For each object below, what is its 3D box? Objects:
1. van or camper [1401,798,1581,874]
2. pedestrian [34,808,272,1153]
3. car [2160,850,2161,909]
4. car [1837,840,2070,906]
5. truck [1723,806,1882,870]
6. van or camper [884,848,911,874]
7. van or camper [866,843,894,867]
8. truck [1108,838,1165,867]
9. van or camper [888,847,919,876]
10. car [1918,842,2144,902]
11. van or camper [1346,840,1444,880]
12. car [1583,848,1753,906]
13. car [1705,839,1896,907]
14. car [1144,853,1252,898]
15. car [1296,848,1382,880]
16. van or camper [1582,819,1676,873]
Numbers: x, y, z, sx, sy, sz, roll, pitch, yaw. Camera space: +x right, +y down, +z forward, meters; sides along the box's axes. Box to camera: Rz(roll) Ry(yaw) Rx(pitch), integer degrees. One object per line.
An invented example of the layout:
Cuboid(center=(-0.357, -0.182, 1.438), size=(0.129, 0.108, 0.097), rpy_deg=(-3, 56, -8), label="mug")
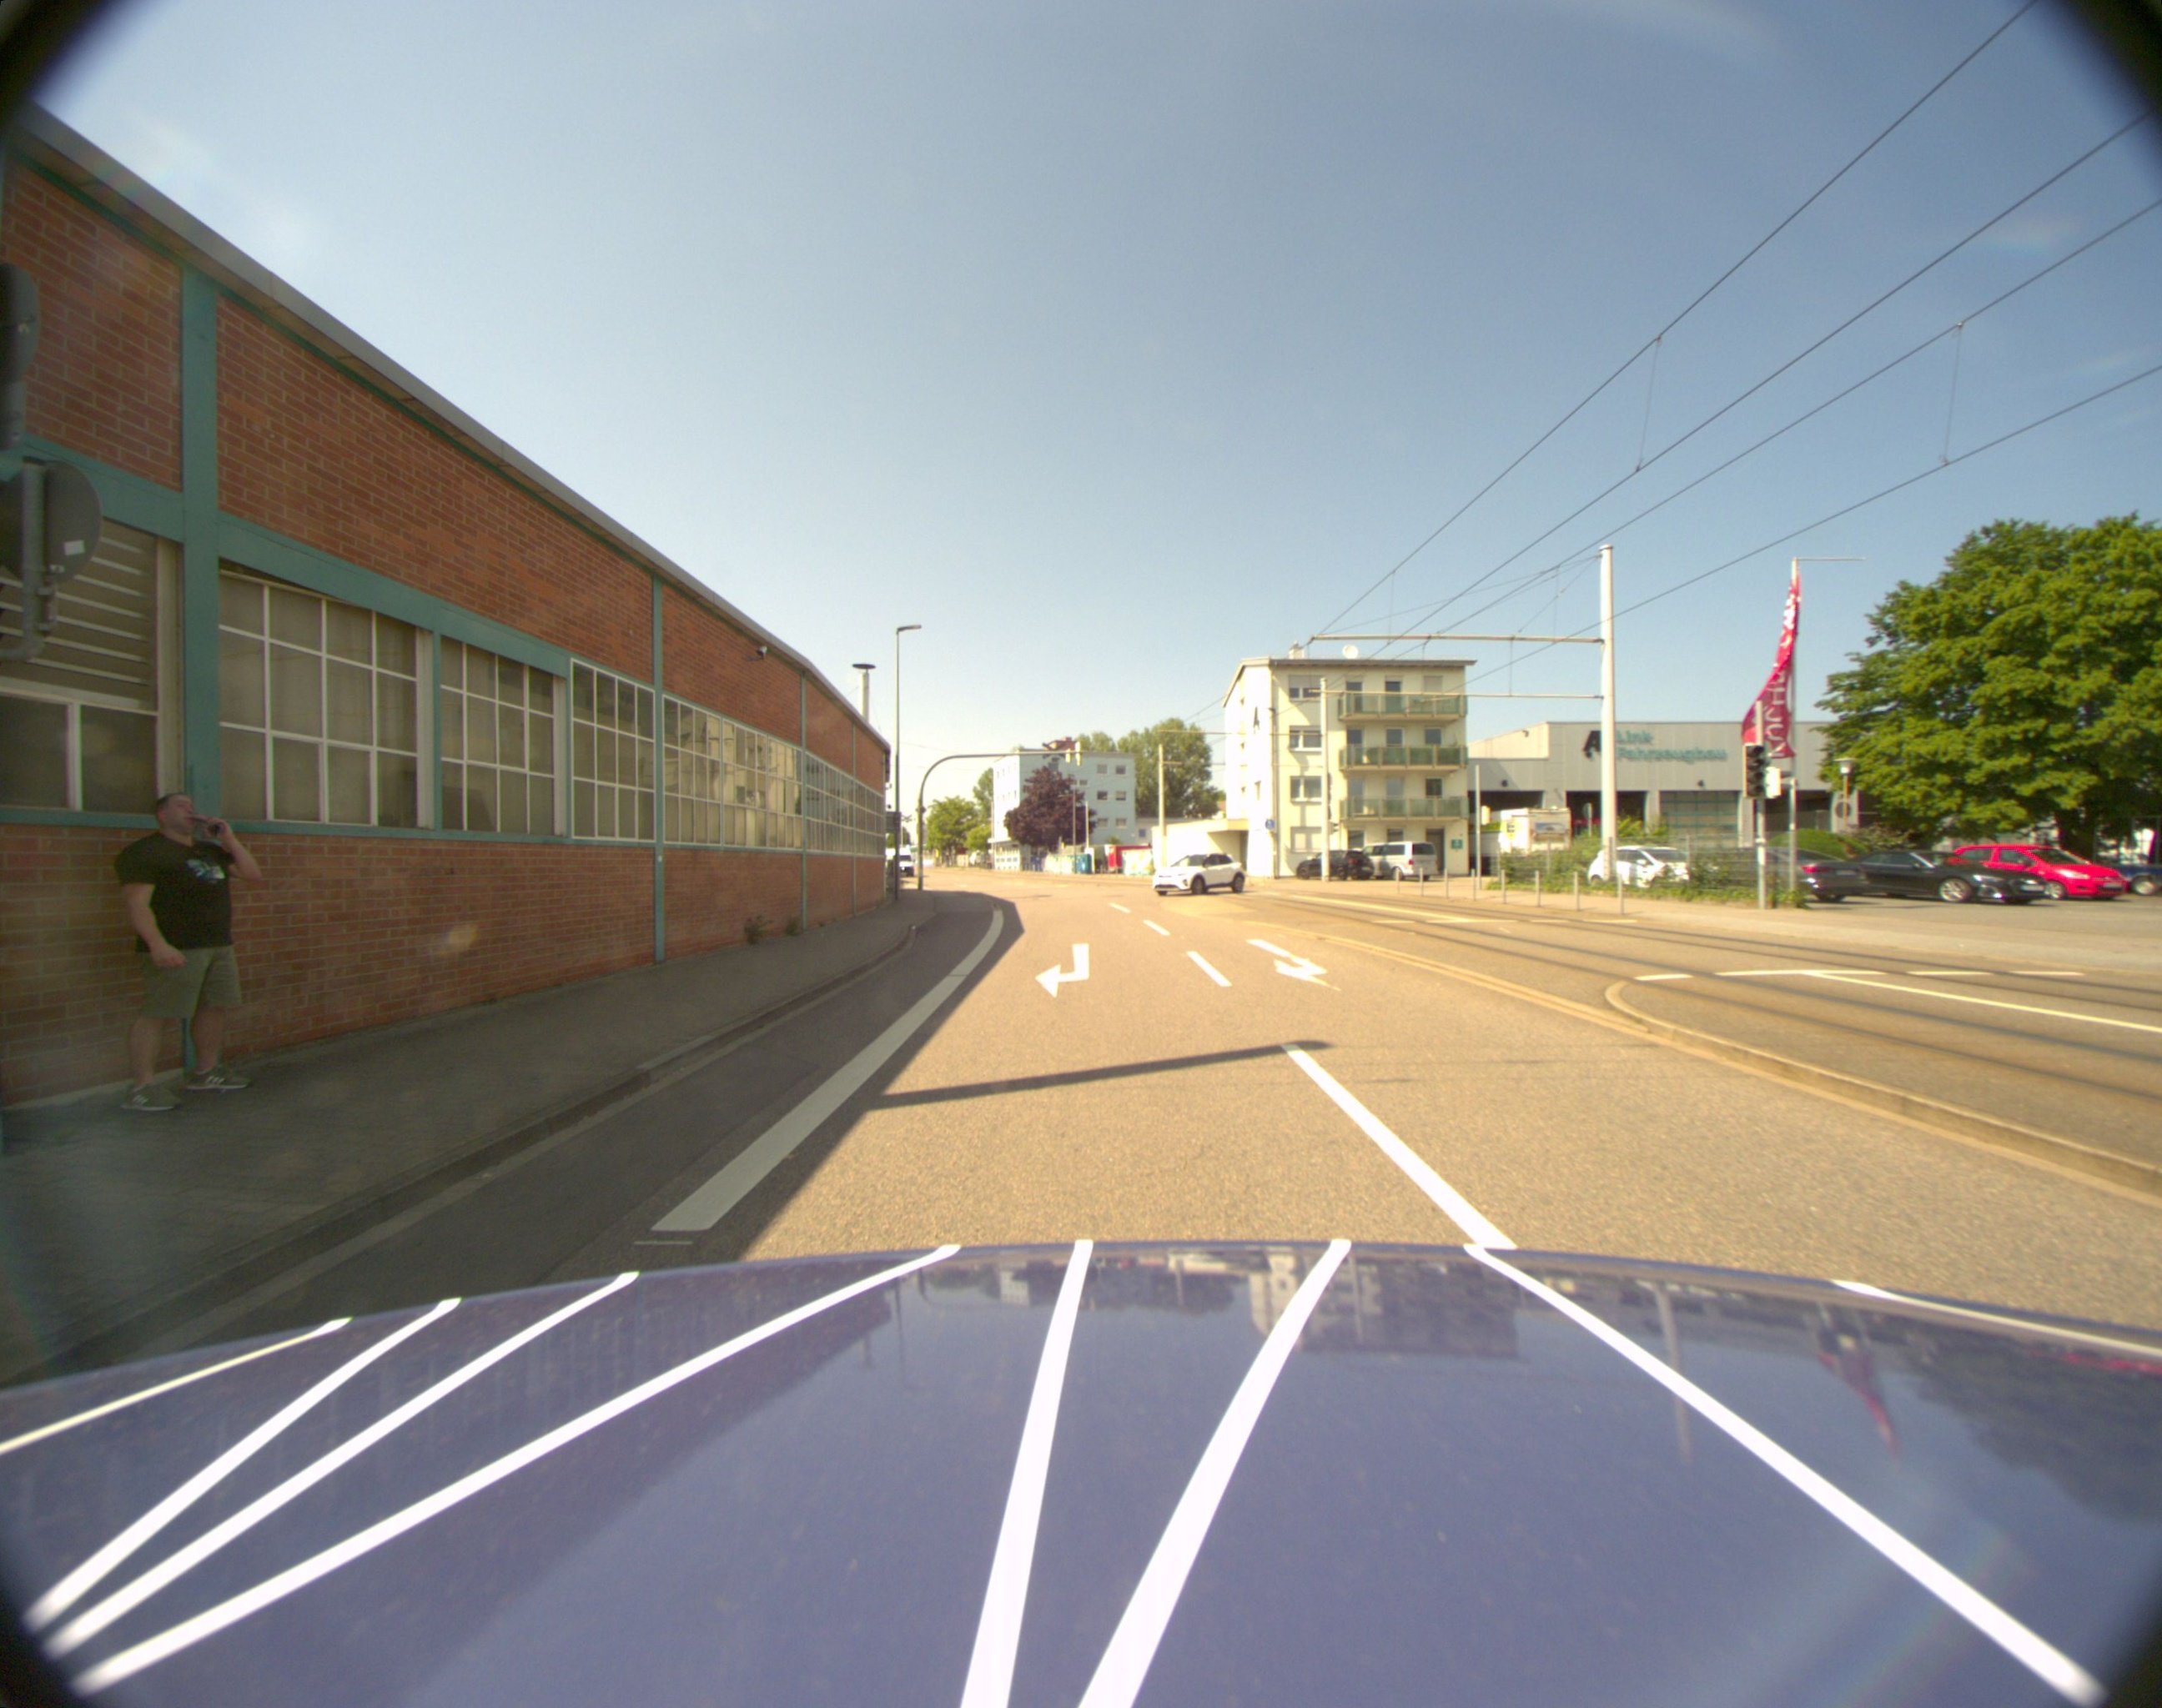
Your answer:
Cuboid(center=(23.660, -0.800, 45.063), size=(2.781, 3.669, 11.633), rpy_deg=(-1, -2, -9), label="van or camper")
Cuboid(center=(-5.126, 0.660, 4.243), size=(0.449, 1.754, 0.686), rpy_deg=(-1, -2, 3), label="pedestrian")
Cuboid(center=(27.922, 0.620, 17.418), size=(1.517, 1.476, 3.389), rpy_deg=(-1, 0, -3), label="car")
Cuboid(center=(23.274, 0.454, 20.530), size=(1.856, 1.612, 3.836), rpy_deg=(0, 0, -1), label="car")
Cuboid(center=(45.688, -0.941, 48.565), size=(2.623, 3.760, 7.860), rpy_deg=(0, 0, -1), label="truck")
Cuboid(center=(-18.774, 0.712, 77.552), size=(2.046, 2.519, 5.572), rpy_deg=(-1, 0, -20), label="van or camper")
Cuboid(center=(-24.191, 0.157, 91.215), size=(2.527, 2.770, 7.103), rpy_deg=(-1, 0, -21), label="van or camper")
Cuboid(center=(5.198, -0.182, 71.267), size=(4.836, 2.611, 2.186), rpy_deg=(-1, 0, -14), label="truck")
Cuboid(center=(-16.280, 0.647, 69.527), size=(2.046, 2.519, 5.859), rpy_deg=(-1, 0, -20), label="van or camper")
Cuboid(center=(27.797, 0.492, 22.455), size=(1.856, 1.583, 3.836), rpy_deg=(-1, 0, -1), label="car")
Cuboid(center=(15.866, 0.261, 38.672), size=(2.002, 1.897, 4.547), rpy_deg=(0, 0, -22), label="van or camper")
Cuboid(center=(16.266, 0.563, 21.340), size=(1.712, 1.425, 3.954), rpy_deg=(-1, 1, 0), label="car")
Cuboid(center=(18.929, 0.483, 20.267), size=(1.767, 1.611, 3.839), rpy_deg=(-1, -1, 8), label="car")
Cuboid(center=(4.390, 0.731, 28.173), size=(4.117, 1.521, 1.733), rpy_deg=(-1, 0, -42), label="car")
Cuboid(center=(13.044, 0.493, 38.664), size=(1.883, 1.512, 3.965), rpy_deg=(-1, 0, -26), label="car")
Cuboid(center=(34.186, -0.427, 47.609), size=(1.999, 3.186, 5.058), rpy_deg=(-1, -1, -3), label="van or camper")
